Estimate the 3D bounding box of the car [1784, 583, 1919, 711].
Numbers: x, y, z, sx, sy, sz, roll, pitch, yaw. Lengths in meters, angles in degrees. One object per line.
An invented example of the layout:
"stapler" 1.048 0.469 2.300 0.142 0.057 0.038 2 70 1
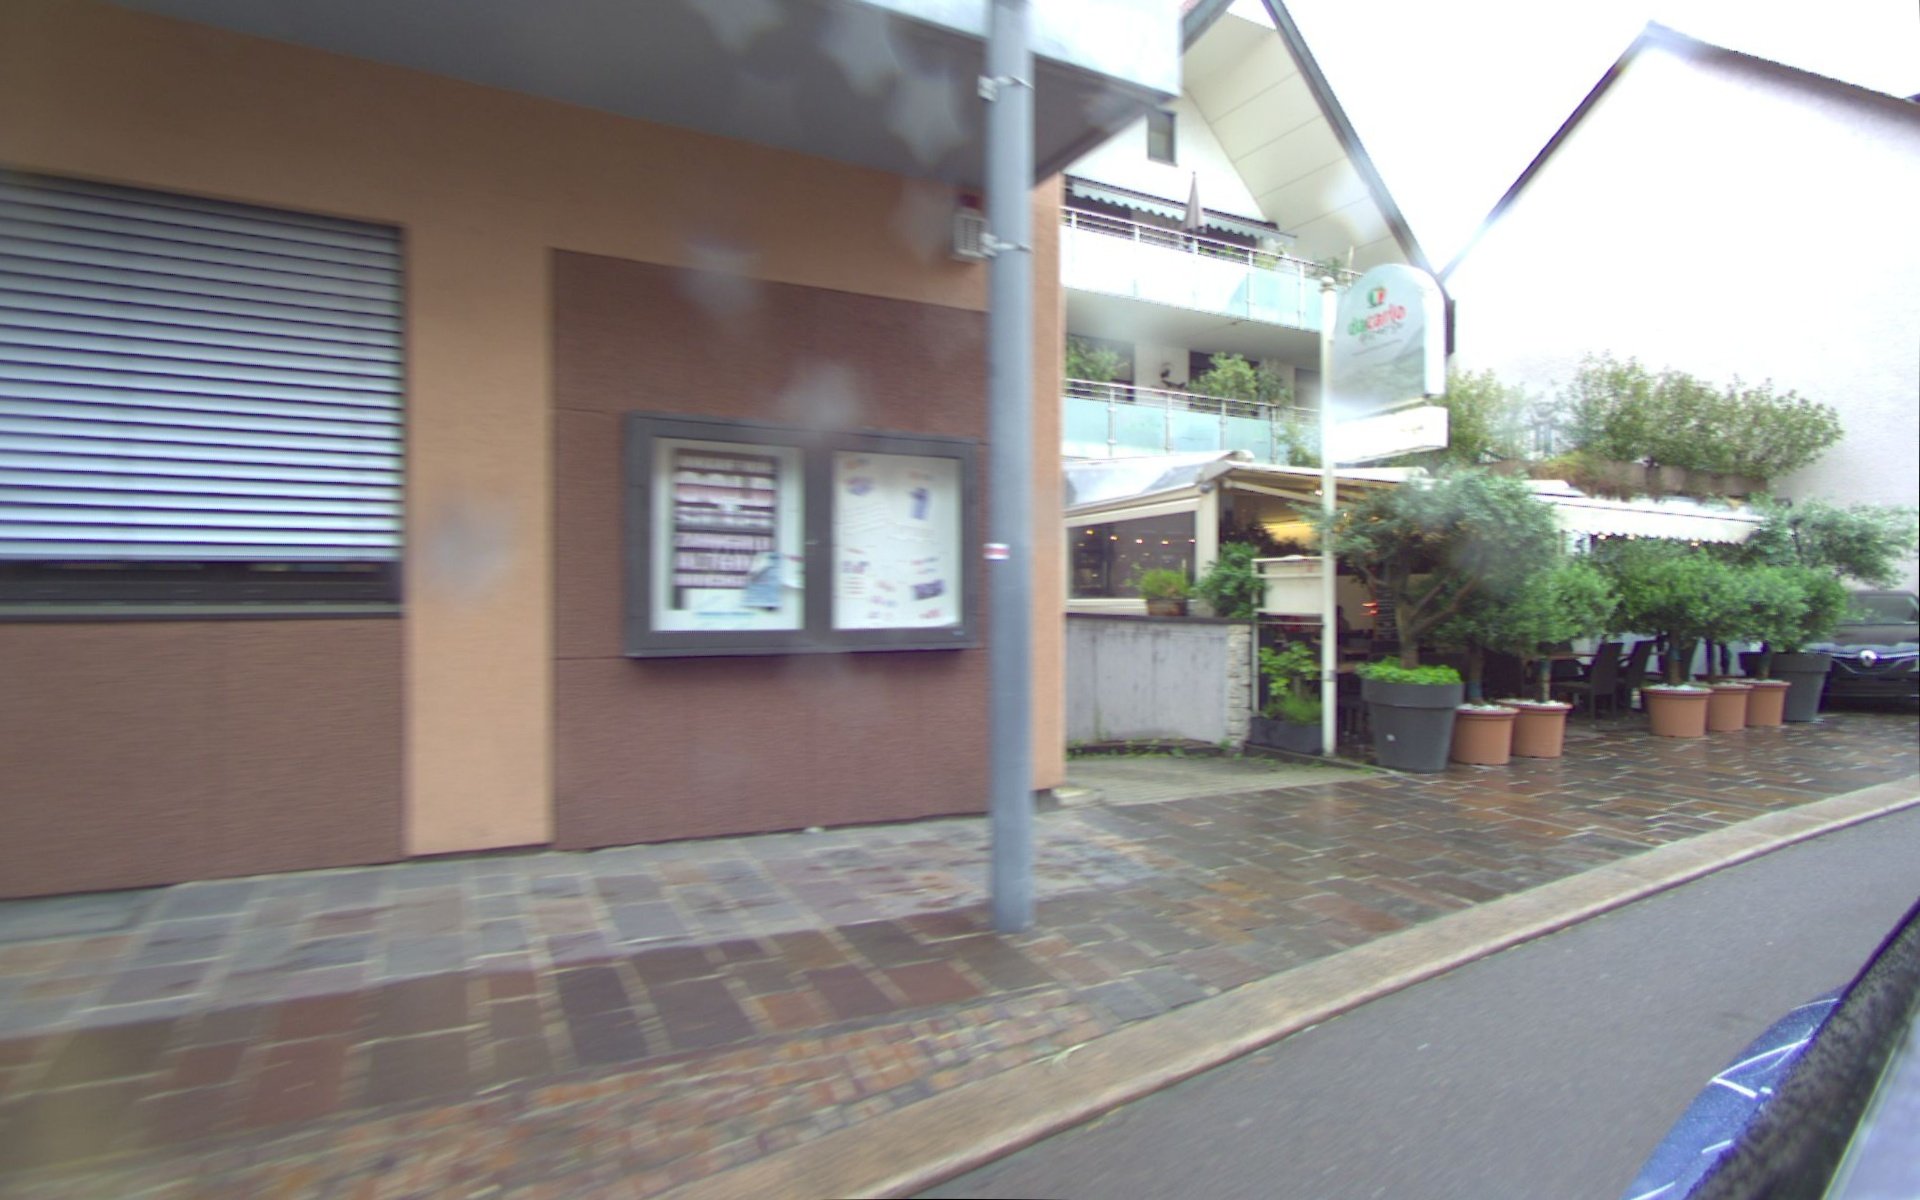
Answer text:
"car" 11.461 0.487 12.621 1.730 1.374 3.883 1 1 38
